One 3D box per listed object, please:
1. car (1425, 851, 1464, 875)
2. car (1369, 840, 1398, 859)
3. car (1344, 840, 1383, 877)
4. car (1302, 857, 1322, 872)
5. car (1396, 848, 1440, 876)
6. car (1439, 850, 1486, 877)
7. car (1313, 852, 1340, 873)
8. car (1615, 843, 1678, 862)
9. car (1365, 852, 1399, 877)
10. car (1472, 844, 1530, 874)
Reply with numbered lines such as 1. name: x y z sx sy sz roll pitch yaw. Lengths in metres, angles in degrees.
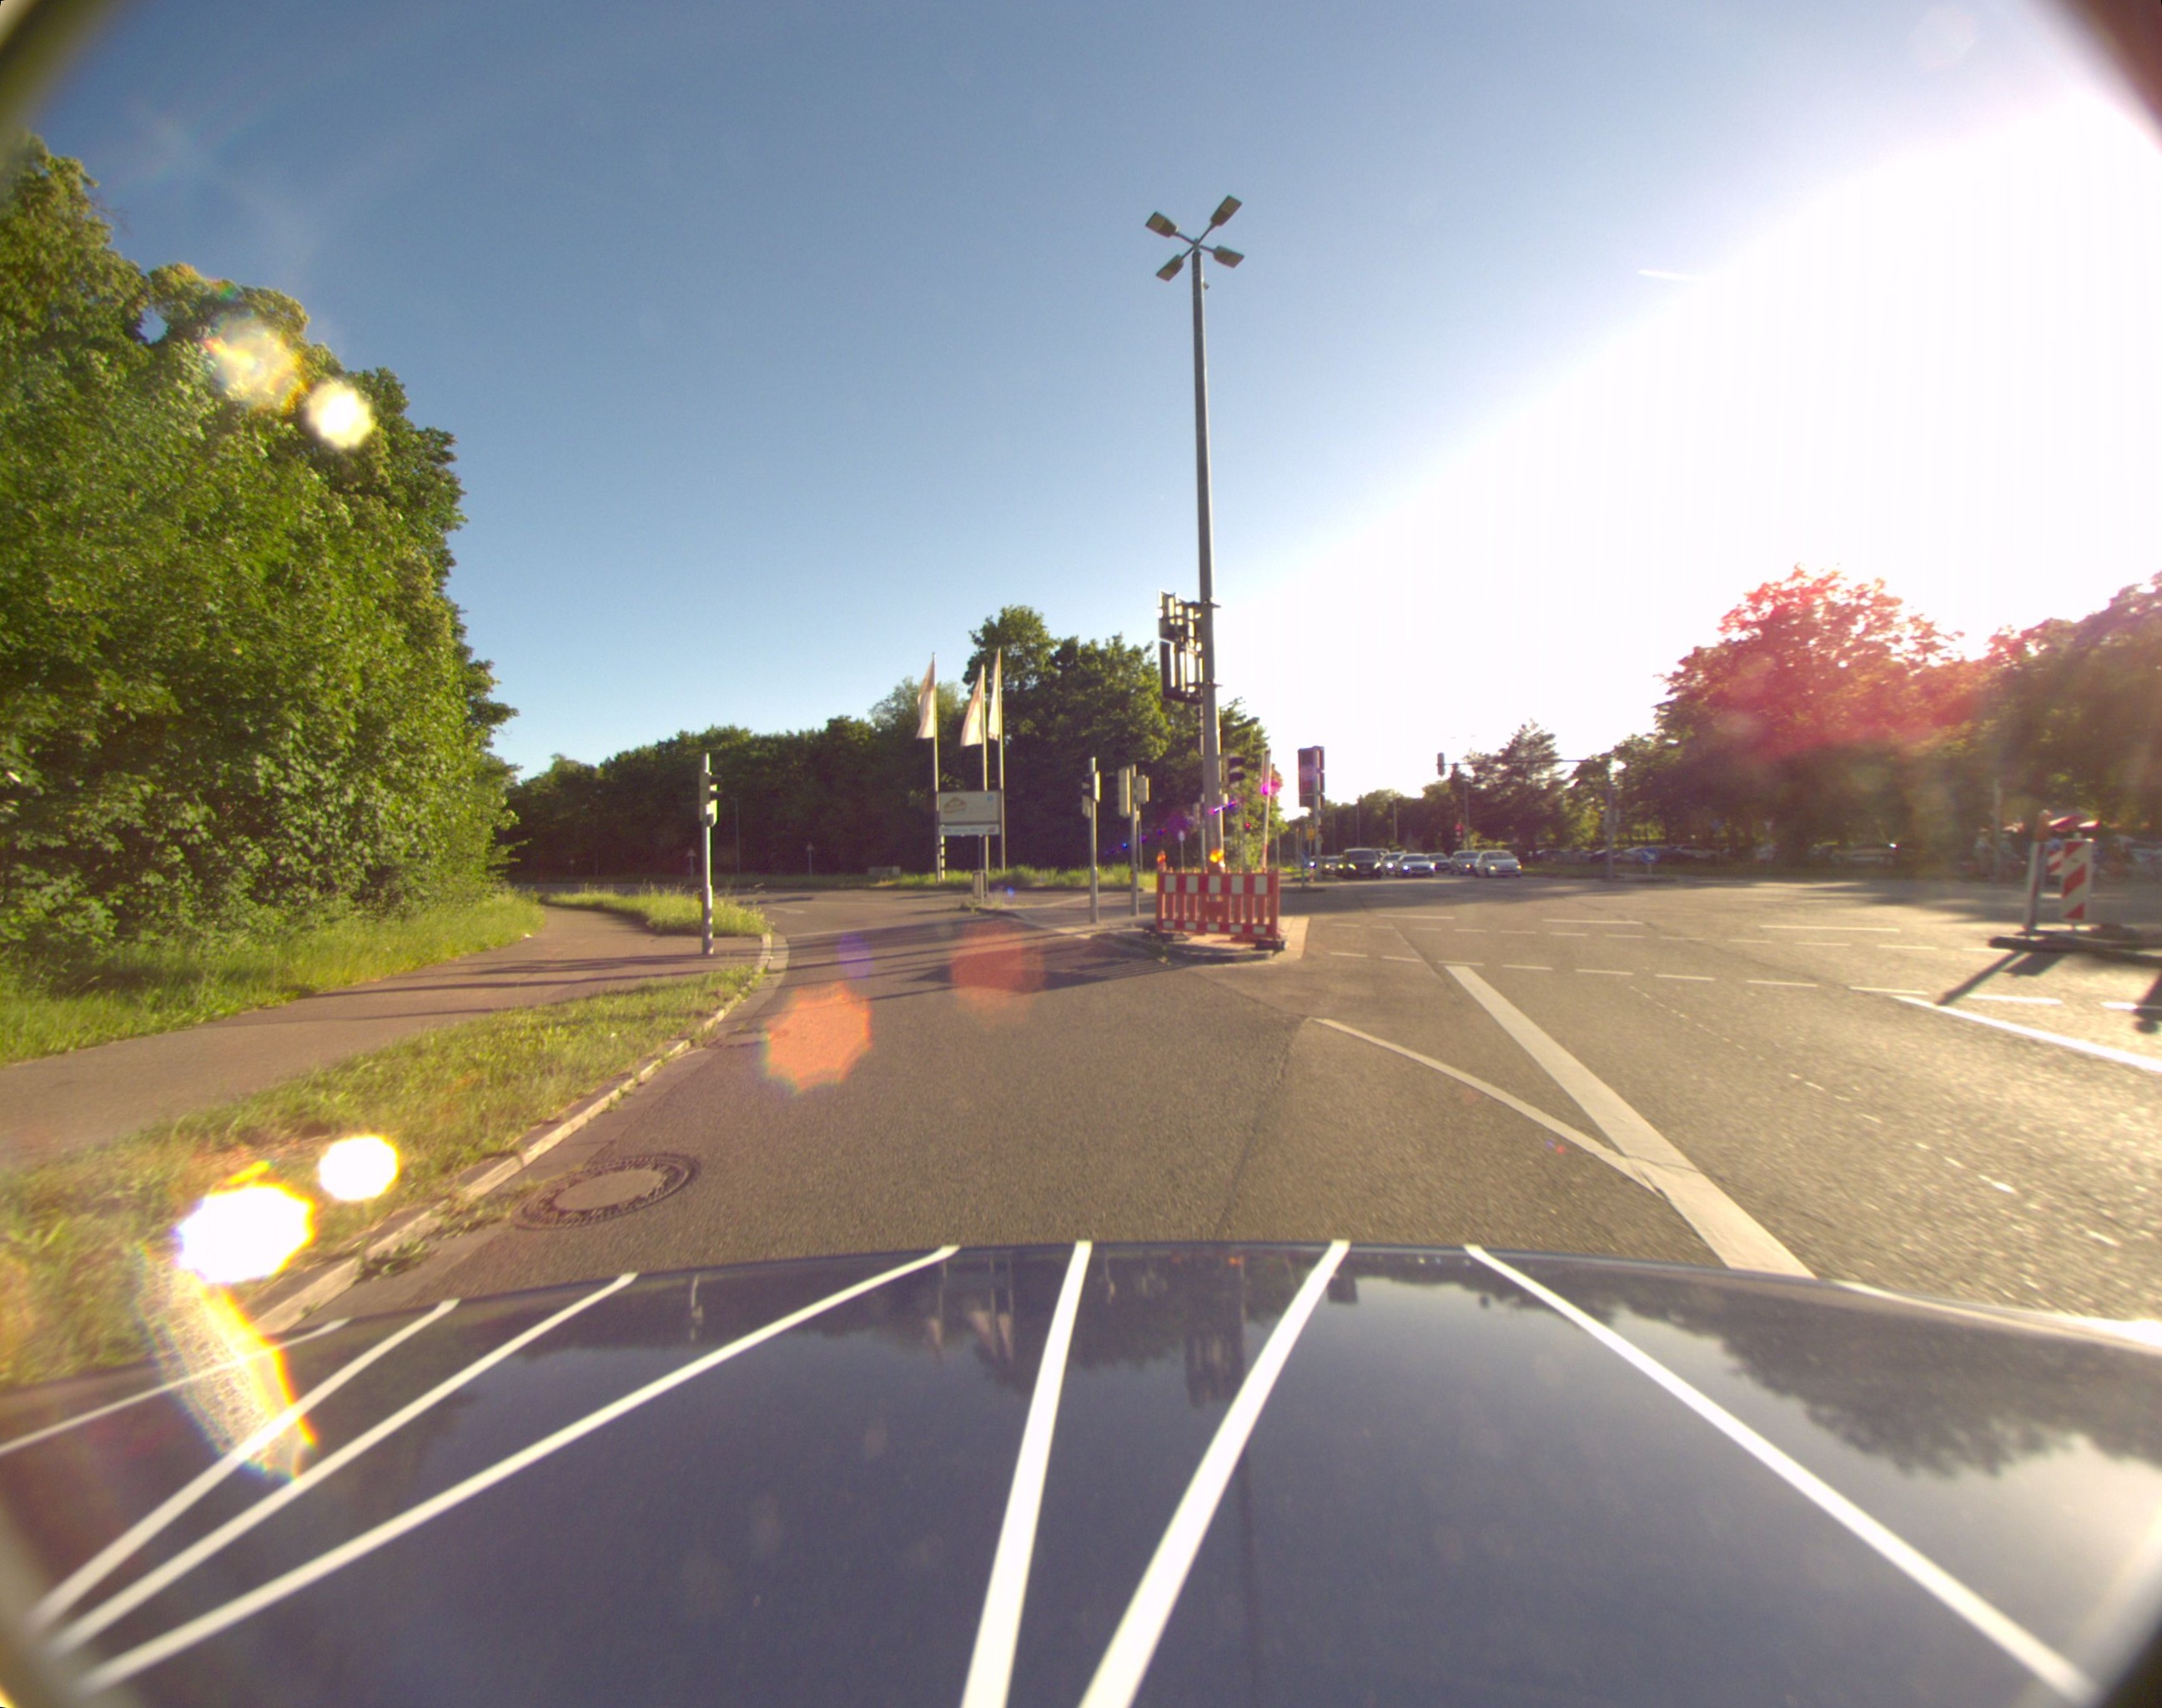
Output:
1. car: 26.618 0.635 55.775 1.996 1.510 4.004 -2 1 18
2. car: 25.637 -0.403 64.592 1.996 1.510 4.004 -2 1 18
3. car: 17.173 0.215 46.347 1.996 2.057 4.004 -2 1 18
4. car: 25.470 1.136 83.757 1.996 1.510 4.004 -2 1 18
5. car: 20.562 0.461 46.531 1.996 1.510 4.004 -2 1 18
6. car: 23.997 0.567 47.936 1.996 1.510 4.004 -2 1 18
7. car: 19.895 0.674 61.555 1.996 1.510 4.004 -2 1 18
8. car: 49.951 -0.132 67.229 3.995 1.510 2.001 -2 1 6
9. car: 21.402 0.732 54.156 1.996 1.510 4.004 -2 1 18
10. car: 22.589 0.267 41.002 1.996 1.510 4.005 -1 0 18
